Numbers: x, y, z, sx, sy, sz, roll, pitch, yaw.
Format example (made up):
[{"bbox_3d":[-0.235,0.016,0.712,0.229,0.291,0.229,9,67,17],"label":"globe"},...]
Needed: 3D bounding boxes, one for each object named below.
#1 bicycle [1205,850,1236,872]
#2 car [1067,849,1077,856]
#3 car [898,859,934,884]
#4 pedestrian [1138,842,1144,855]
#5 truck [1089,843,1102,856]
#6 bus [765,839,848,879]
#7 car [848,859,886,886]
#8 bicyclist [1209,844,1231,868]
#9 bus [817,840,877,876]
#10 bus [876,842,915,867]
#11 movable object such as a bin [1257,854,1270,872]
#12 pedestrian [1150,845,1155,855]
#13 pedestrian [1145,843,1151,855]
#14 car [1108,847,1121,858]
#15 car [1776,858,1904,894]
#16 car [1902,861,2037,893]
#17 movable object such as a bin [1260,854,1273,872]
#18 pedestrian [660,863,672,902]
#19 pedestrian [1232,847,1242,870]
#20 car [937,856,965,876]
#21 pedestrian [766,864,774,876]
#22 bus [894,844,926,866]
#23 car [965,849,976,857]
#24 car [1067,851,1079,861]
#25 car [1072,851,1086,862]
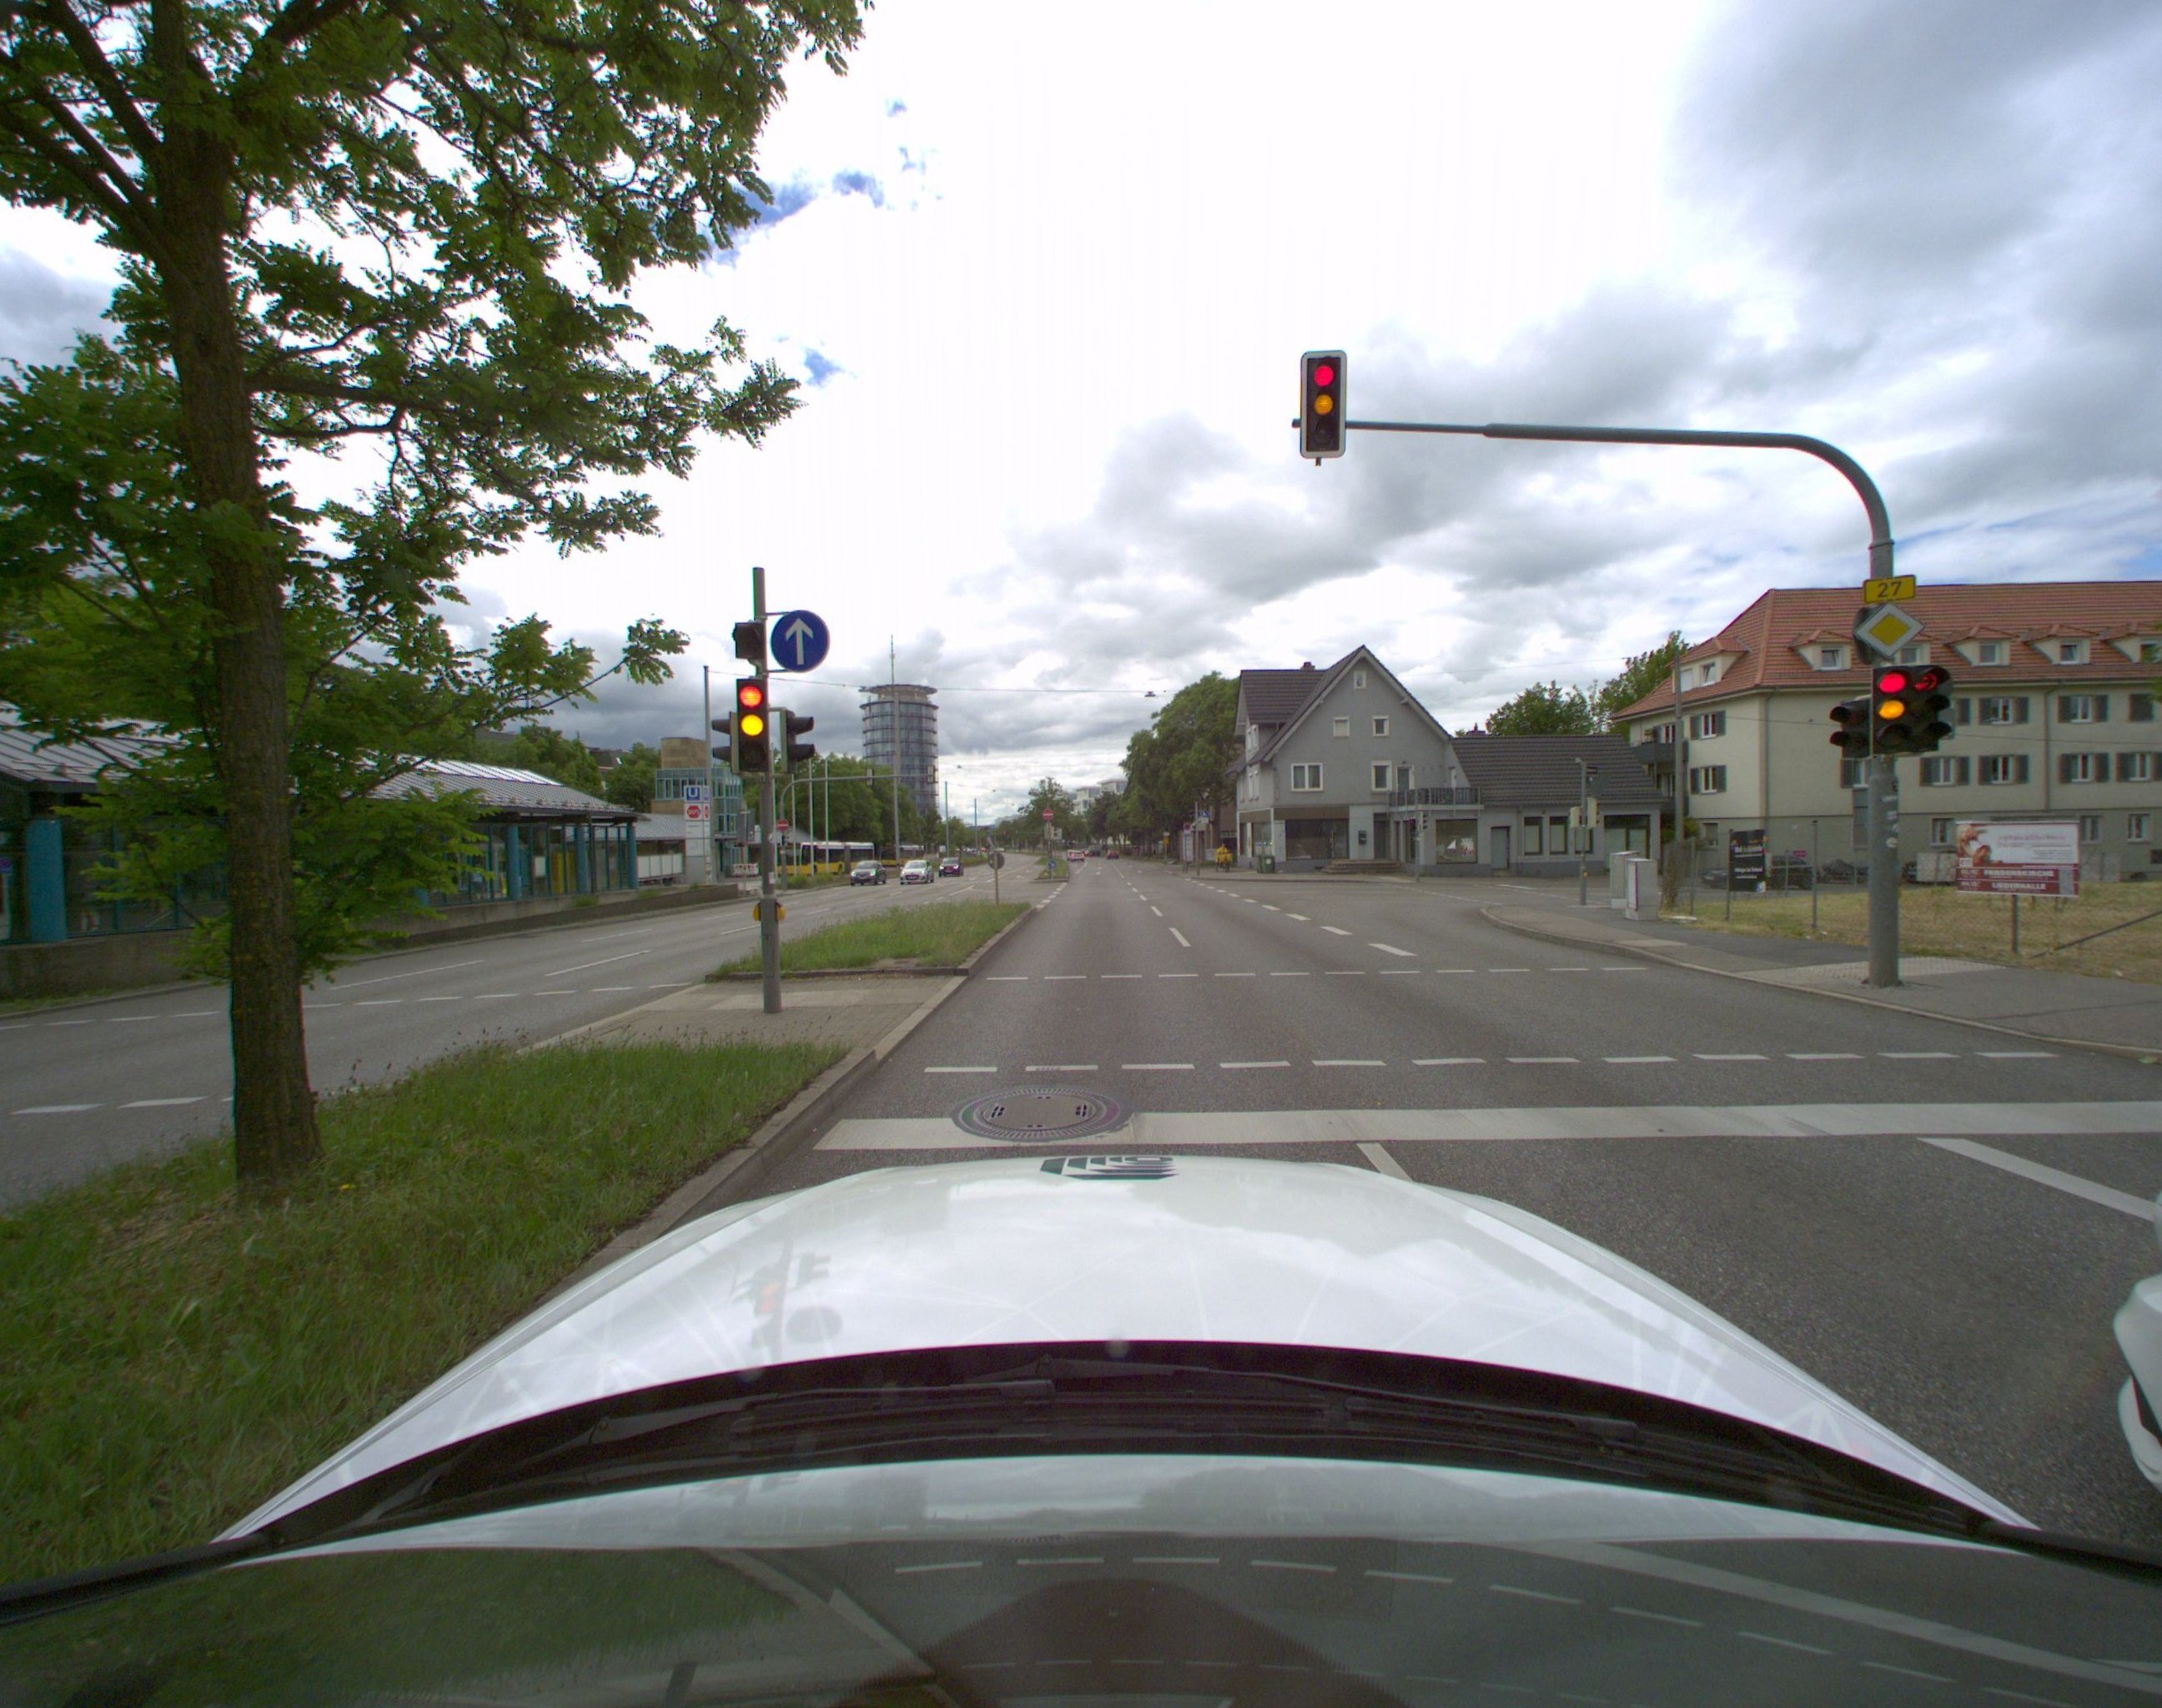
[{"bbox_3d":[8.263,0.424,48.420,1.074,1.217,2.431,-2,0,-10],"label":"bicycle"},{"bbox_3d":[-1.914,-0.357,173.465,1.963,1.420,4.017,-2,0,-3],"label":"car"},{"bbox_3d":[-10.341,1.057,51.314,1.680,1.462,3.552,-2,0,-3],"label":"car"},{"bbox_3d":[10.031,-0.911,135.316,0.967,2.014,0.981,0,-1,1],"label":"pedestrian"},{"bbox_3d":[2.751,-0.819,156.663,2.246,2.416,4.928,-1,0,-3],"label":"truck"},{"bbox_3d":[-24.326,0.406,72.860,2.975,3.250,10.186,-2,0,6],"label":"bus"},{"bbox_3d":[-13.494,1.149,51.525,1.681,1.578,3.344,-2,0,-4],"label":"car"},{"bbox_3d":[8.255,0.122,48.364,1.074,1.357,0.626,-2,0,-10],"label":"bicyclist"},{"bbox_3d":[-23.354,0.373,81.859,2.975,3.270,7.889,-2,0,6],"label":"bus"},{"bbox_3d":[-26.098,0.100,115.309,3.135,3.225,10.282,-2,0,0],"label":"bus"},{"bbox_3d":[10.037,0.481,44.740,0.527,0.979,0.737,-2,0,2],"label":"movable object such as a bin"},{"bbox_3d":[12.061,-0.654,137.976,0.649,1.570,0.669,-2,0,-6],"label":"pedestrian"},{"bbox_3d":[11.118,-0.900,135.435,0.967,1.976,0.981,0,-1,1],"label":"pedestrian"},{"bbox_3d":[5.130,-0.161,126.152,1.882,1.494,4.100,-3,-2,2],"label":"car"},{"bbox_3d":[34.041,0.982,36.609,3.972,1.537,1.871,0,0,2],"label":"car"},{"bbox_3d":[39.810,1.019,36.571,3.972,1.377,1.871,0,0,2],"label":"car"},{"bbox_3d":[10.030,0.476,43.949,0.527,0.979,0.737,-2,0,2],"label":"movable object such as a bin"},{"bbox_3d":[-17.316,1.176,33.997,0.420,1.591,0.353,-2,0,-28],"label":"pedestrian"},{"bbox_3d":[12.690,0.371,66.301,0.701,1.780,0.872,2,-4,8],"label":"pedestrian"},{"bbox_3d":[-10.476,0.973,65.747,1.697,1.492,3.561,-2,0,0],"label":"car"},{"bbox_3d":[-27.382,1.416,71.720,0.521,1.057,0.588,0,-1,1],"label":"pedestrian"},{"bbox_3d":[-26.040,0.125,124.318,3.134,3.225,7.765,-2,0,0],"label":"bus"},{"bbox_3d":[-27.263,-0.172,201.209,1.958,2.014,4.001,0,-1,2],"label":"car"},{"bbox_3d":[-1.308,0.253,126.594,1.817,1.540,4.113,-1,0,-1],"label":"car"},{"bbox_3d":[-0.305,0.309,115.888,1.987,1.477,4.255,-2,0,0],"label":"car"}]
